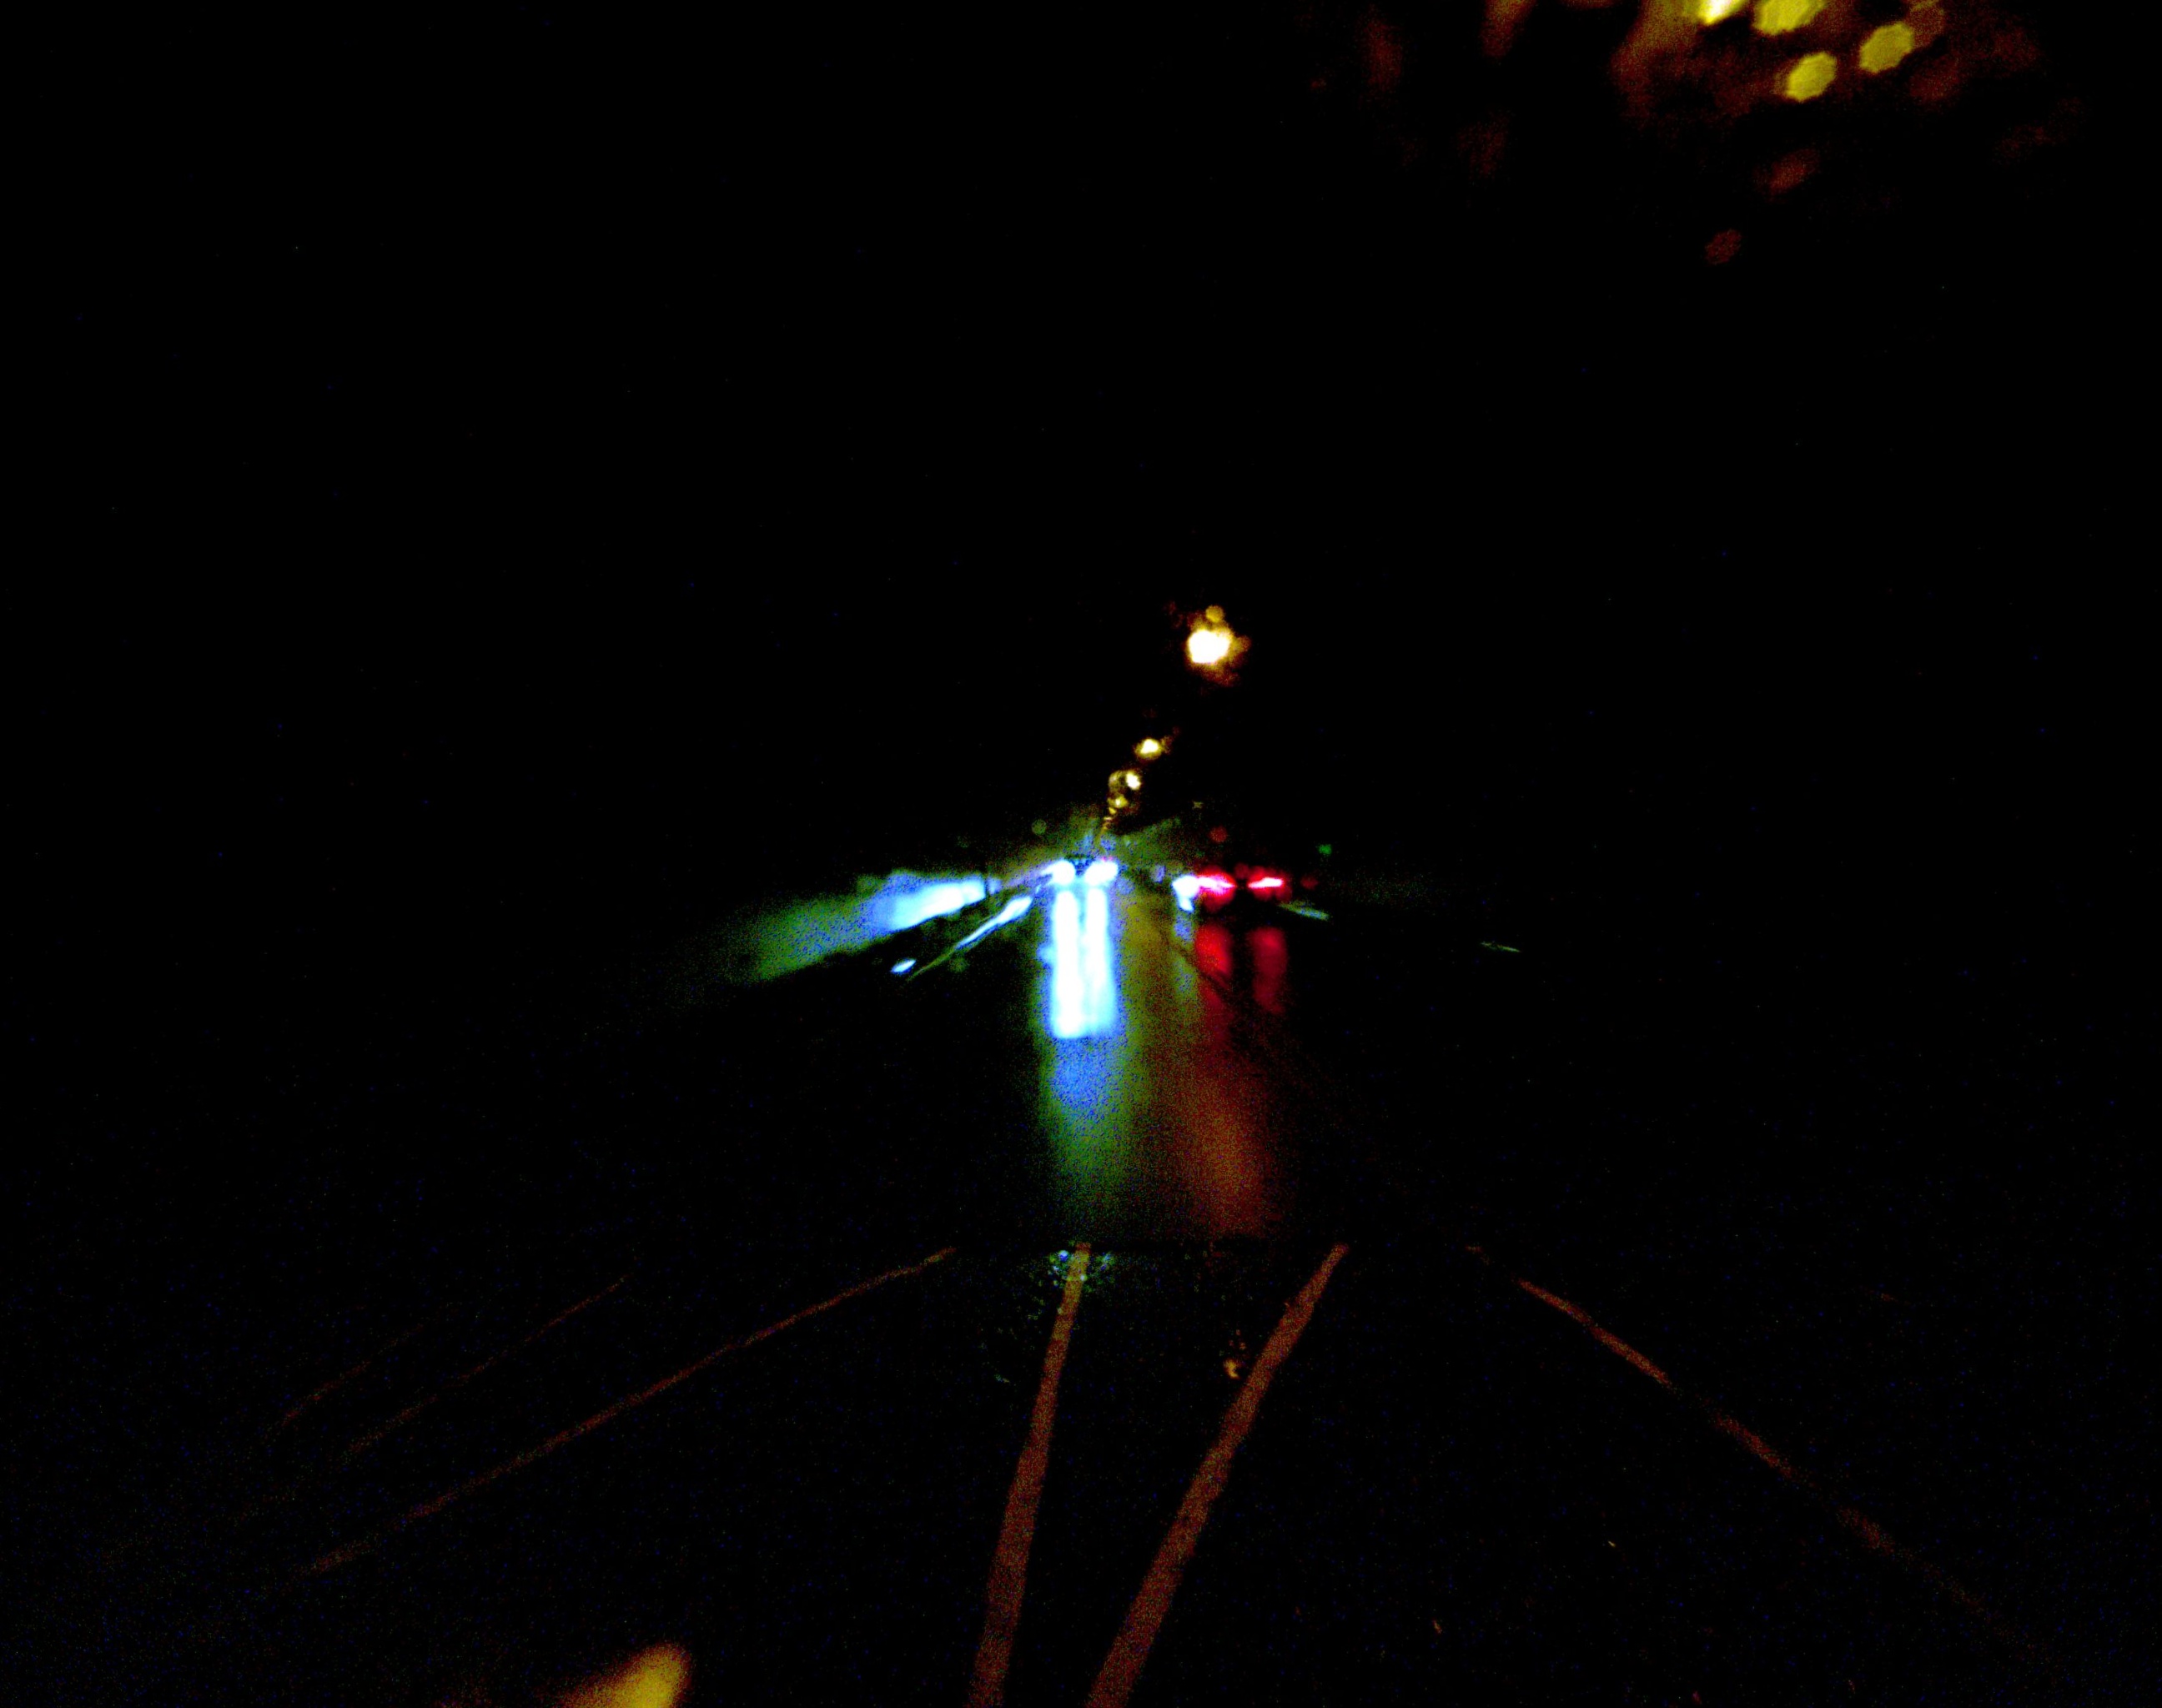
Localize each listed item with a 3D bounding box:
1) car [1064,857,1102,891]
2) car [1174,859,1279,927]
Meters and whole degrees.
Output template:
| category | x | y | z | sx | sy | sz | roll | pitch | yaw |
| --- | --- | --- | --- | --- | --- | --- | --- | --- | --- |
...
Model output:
| category | x | y | z | sx | sy | sz | roll | pitch | yaw |
| --- | --- | --- | --- | --- | --- | --- | --- | --- | --- |
| car | 0.146 | 0.922 | 35.719 | 1.627 | 1.487 | 3.586 | 2 | -1 | 2 |
| car | 3.361 | 0.873 | 18.320 | 1.781 | 1.400 | 4.295 | 2 | -1 | 2 |
